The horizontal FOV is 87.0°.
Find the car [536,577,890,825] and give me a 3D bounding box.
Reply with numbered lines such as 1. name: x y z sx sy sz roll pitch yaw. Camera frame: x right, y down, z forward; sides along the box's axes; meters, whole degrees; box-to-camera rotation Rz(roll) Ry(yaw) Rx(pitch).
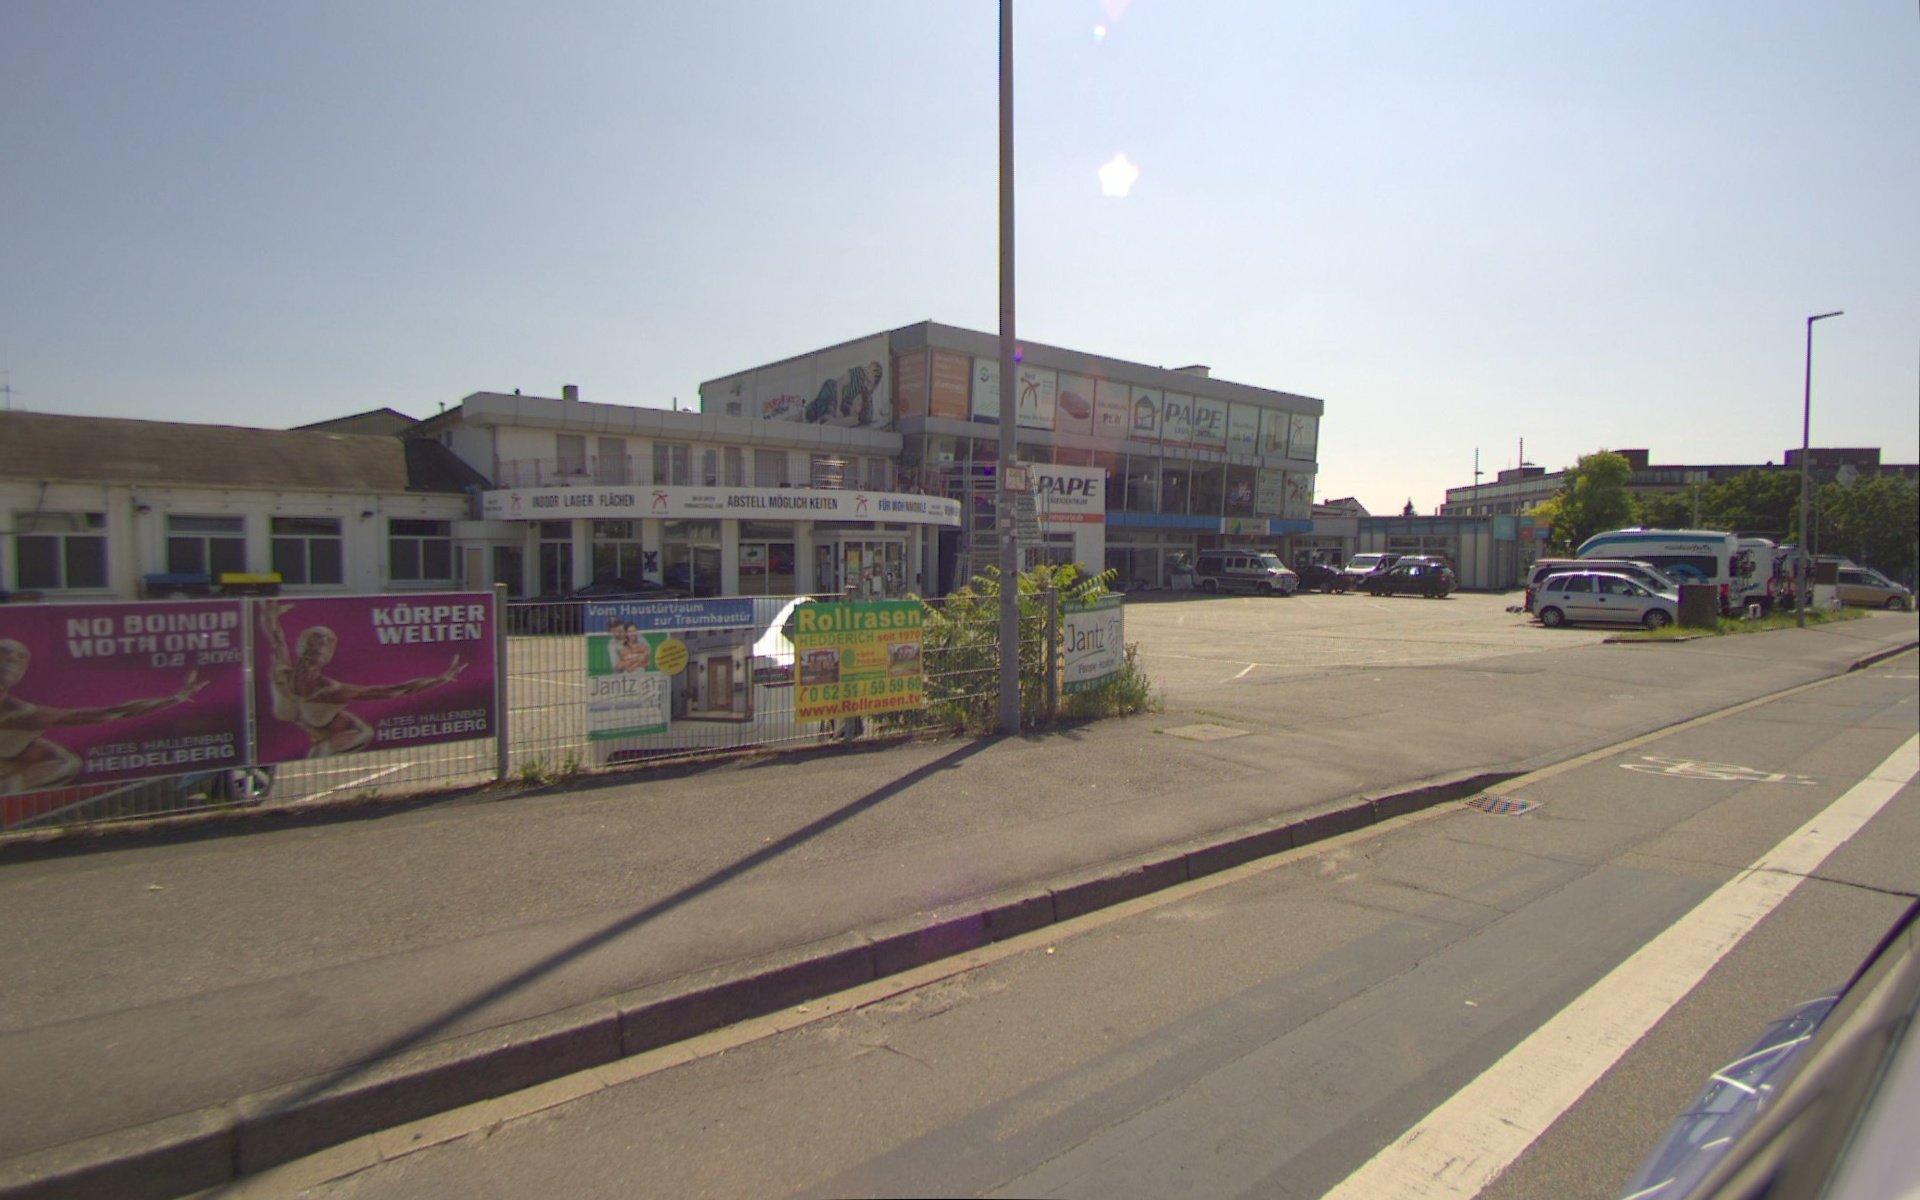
1. car: -1.973 0.682 9.872 1.987 1.641 5.046 -5 1 2

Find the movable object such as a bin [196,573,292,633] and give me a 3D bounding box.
1. movable object such as a bin: -18.541 0.046 26.197 1.571 1.474 1.796 1 2 45

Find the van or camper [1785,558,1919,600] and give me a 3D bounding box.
1. van or camper: 47.579 -1.158 53.852 5.070 2.101 2.439 1 2 18

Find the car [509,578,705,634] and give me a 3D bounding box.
1. car: -9.204 0.137 26.572 4.475 1.306 1.892 -1 0 6

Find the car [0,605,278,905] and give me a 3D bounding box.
1. car: -6.406 0.907 6.258 1.857 1.636 3.831 0 1 -1

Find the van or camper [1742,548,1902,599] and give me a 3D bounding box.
1. van or camper: 48.174 -1.515 56.730 6.269 2.669 2.523 1 2 14

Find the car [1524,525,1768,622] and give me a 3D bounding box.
1. car: 22.386 -0.915 33.313 2.279 2.904 6.241 -1 2 -40

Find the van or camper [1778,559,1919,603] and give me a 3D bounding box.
1. van or camper: 45.176 -1.005 51.606 4.919 2.070 2.030 2 3 20

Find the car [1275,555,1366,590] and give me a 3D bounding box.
1. car: 19.003 -1.476 53.423 1.967 1.754 4.109 -1 3 -44

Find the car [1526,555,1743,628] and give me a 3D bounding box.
1. car: 20.768 -0.342 31.381 1.965 1.975 5.245 -1 3 -41

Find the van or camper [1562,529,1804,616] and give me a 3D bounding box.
1. van or camper: 24.879 -0.987 35.104 2.665 2.733 6.363 -1 3 -40

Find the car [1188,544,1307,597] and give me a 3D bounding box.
1. car: 14.226 -1.498 50.281 2.285 2.448 5.308 -1 3 -40

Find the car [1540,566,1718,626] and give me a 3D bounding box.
1. car: 19.050 -0.119 28.957 1.767 1.613 3.928 -1 0 -41

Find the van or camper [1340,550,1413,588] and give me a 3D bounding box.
1. van or camper: 23.357 -1.759 56.665 2.117 2.038 5.035 2 3 43

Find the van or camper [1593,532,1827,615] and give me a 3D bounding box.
1. van or camper: 27.041 -1.007 36.727 2.665 2.749 6.363 -1 3 -40

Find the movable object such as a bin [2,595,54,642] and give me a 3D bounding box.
1. movable object such as a bin: -21.841 0.411 23.720 0.746 1.049 0.862 1 2 45

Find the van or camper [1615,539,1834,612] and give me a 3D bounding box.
1. van or camper: 28.968 -0.996 38.578 2.573 2.555 6.209 -1 3 -40

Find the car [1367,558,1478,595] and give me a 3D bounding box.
1. car: 22.615 -1.199 49.570 1.967 1.698 4.542 -1 3 -44

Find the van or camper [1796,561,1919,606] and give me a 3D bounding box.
1. van or camper: 44.178 -0.835 49.116 5.071 1.985 1.975 2 4 20

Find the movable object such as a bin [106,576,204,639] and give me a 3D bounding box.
1. movable object such as a bin: -19.818 0.144 24.924 1.571 1.474 1.727 1 2 45
